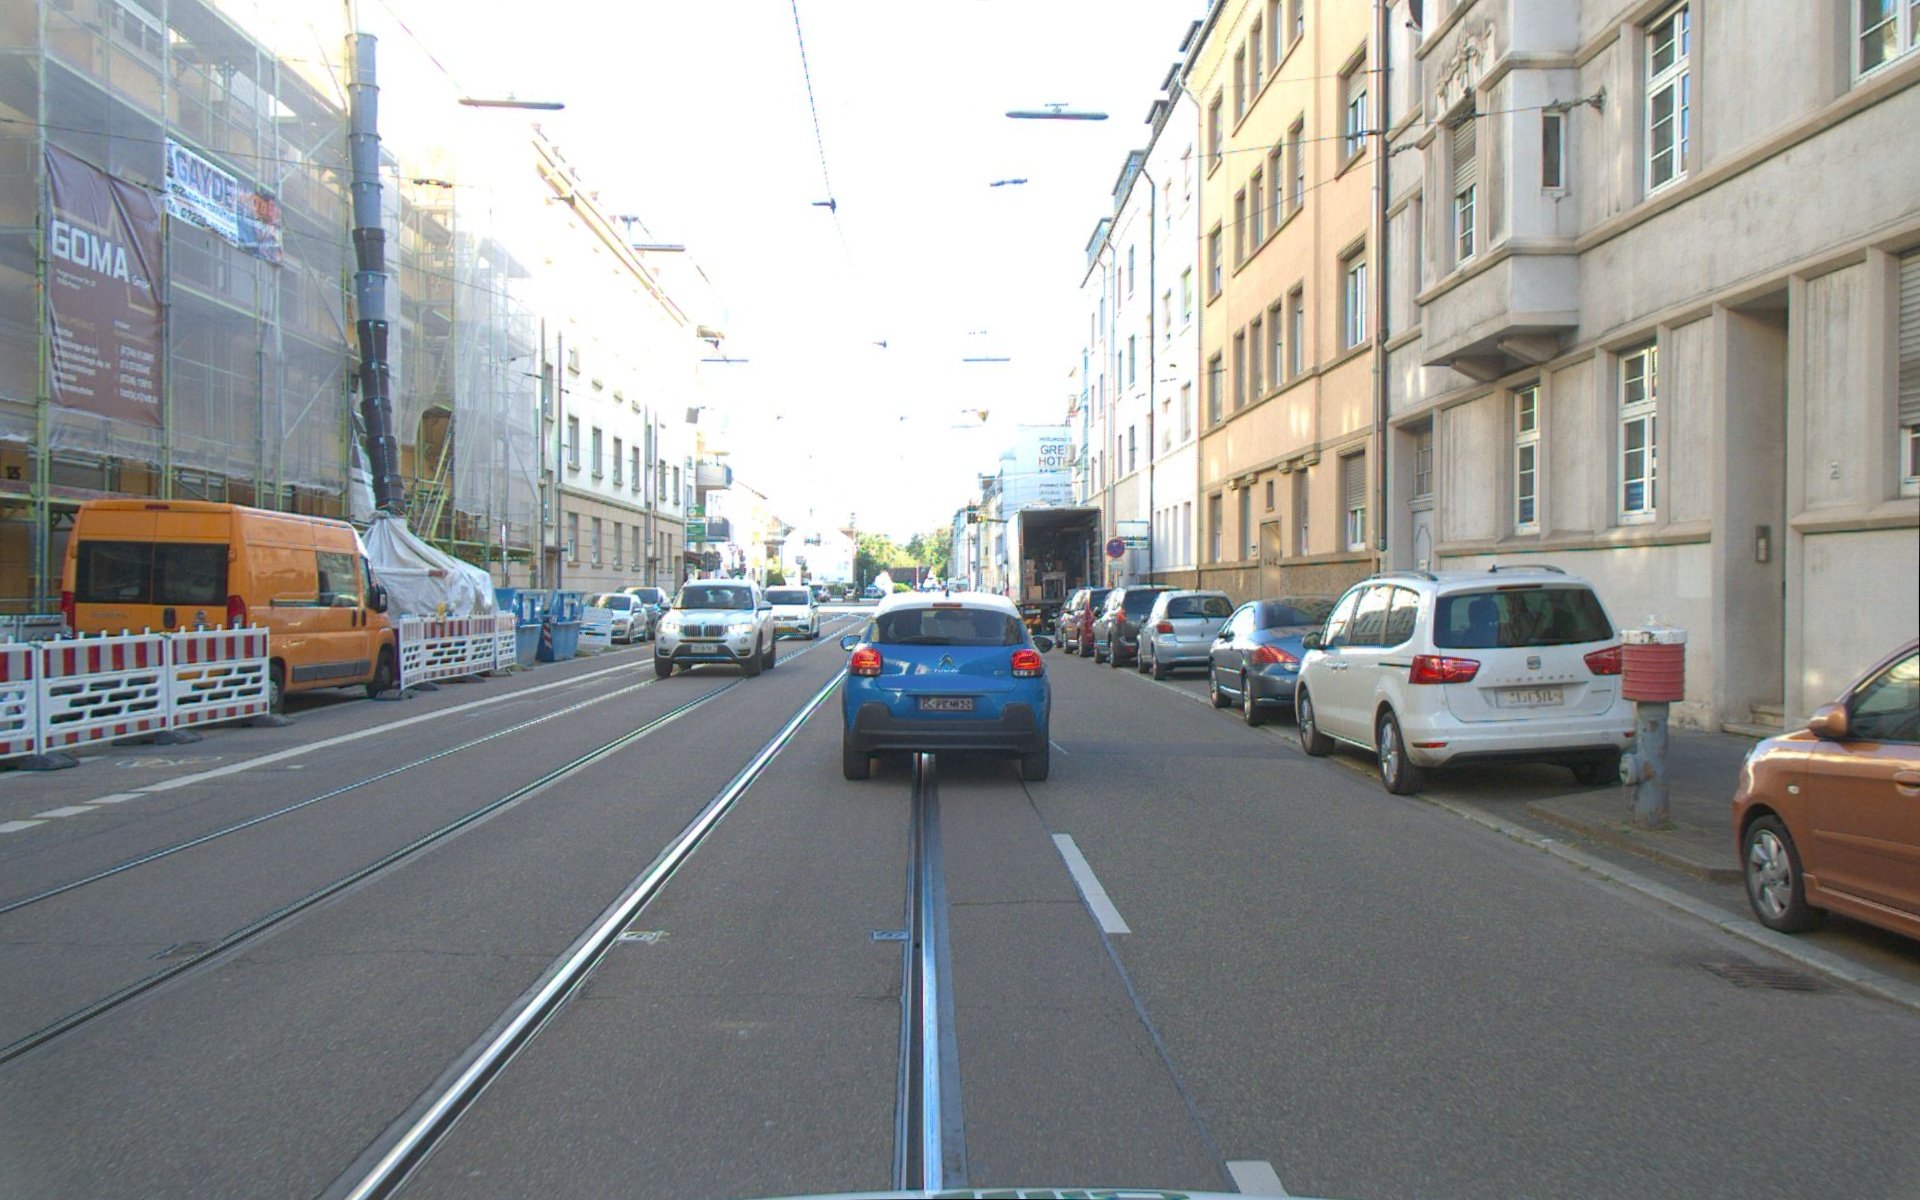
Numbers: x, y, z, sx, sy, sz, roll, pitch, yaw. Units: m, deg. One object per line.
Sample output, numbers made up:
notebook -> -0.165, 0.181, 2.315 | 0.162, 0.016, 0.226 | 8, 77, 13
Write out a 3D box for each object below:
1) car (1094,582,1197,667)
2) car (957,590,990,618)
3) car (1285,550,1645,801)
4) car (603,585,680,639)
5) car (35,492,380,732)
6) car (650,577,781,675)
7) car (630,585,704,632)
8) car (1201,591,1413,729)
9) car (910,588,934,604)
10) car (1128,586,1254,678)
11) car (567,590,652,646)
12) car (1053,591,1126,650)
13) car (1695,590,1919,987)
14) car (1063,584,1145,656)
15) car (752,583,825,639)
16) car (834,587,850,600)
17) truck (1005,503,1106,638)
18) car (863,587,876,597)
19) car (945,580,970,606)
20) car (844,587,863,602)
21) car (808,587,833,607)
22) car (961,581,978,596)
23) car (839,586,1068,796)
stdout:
car -> 3.832, 0.461, 34.784 | 1.630, 1.675, 4.221 | 0, 0, -1
car -> 0.711, 0.202, 89.579 | 1.729, 1.512, 4.031 | 0, 0, -1
car -> 4.219, 0.542, 14.643 | 1.695, 1.859, 4.685 | 0, 0, -1
car -> -10.125, 0.353, 52.888 | 1.679, 1.621, 4.266 | 0, 0, -1
car -> -8.854, 0.100, 20.040 | 2.102, 2.518, 4.977 | 1, 1, -3
car -> -4.377, 0.422, 30.236 | 1.789, 1.660, 4.489 | 0, 0, -1
car -> -10.736, 0.287, 60.853 | 2.101, 1.650, 3.999 | -1, 1, -2
car -> 4.170, 0.654, 20.515 | 1.687, 1.512, 4.221 | 0, 0, -1
car -> -3.513, -0.369, 153.489 | 2.136, 1.512, 4.159 | 0, 0, -1
car -> 4.102, 0.519, 29.946 | 1.630, 1.546, 4.221 | 0, 0, -1
car -> -10.117, 0.482, 47.993 | 1.679, 1.544, 4.047 | 0, 0, -1
car -> 3.499, 0.524, 45.276 | 1.630, 1.512, 4.031 | 0, 0, -1
car -> 4.643, 0.758, 6.816 | 1.582, 1.588, 3.599 | 0, 0, -1
car -> 3.508, 0.455, 40.796 | 1.630, 1.661, 3.870 | 0, 0, -1
car -> -5.284, 0.317, 51.367 | 1.863, 1.660, 4.266 | 0, 0, -1
car -> -13.962, -0.816, 195.955 | 1.729, 1.512, 4.031 | 0, 0, -1
truck -> 3.088, -0.957, 56.484 | 2.795, 4.154, 11.270 | 0, 0, 0
car -> -13.434, -1.221, 246.232 | 1.729, 1.512, 4.031 | 0, 0, -1
car -> -0.279, -0.610, 148.399 | 2.175, 2.324, 4.083 | 0, 0, -1
car -> -11.019, -0.616, 171.233 | 1.729, 1.512, 4.031 | 0, 0, -1
car -> -12.025, -0.265, 143.102 | 1.863, 1.660, 4.266 | 0, 0, -1
car -> 1.020, -1.238, 177.637 | 1.729, 1.512, 4.031 | 0, 0, -1
car -> -0.080, 0.679, 14.580 | 1.700, 1.533, 3.992 | 2, 1, -1
